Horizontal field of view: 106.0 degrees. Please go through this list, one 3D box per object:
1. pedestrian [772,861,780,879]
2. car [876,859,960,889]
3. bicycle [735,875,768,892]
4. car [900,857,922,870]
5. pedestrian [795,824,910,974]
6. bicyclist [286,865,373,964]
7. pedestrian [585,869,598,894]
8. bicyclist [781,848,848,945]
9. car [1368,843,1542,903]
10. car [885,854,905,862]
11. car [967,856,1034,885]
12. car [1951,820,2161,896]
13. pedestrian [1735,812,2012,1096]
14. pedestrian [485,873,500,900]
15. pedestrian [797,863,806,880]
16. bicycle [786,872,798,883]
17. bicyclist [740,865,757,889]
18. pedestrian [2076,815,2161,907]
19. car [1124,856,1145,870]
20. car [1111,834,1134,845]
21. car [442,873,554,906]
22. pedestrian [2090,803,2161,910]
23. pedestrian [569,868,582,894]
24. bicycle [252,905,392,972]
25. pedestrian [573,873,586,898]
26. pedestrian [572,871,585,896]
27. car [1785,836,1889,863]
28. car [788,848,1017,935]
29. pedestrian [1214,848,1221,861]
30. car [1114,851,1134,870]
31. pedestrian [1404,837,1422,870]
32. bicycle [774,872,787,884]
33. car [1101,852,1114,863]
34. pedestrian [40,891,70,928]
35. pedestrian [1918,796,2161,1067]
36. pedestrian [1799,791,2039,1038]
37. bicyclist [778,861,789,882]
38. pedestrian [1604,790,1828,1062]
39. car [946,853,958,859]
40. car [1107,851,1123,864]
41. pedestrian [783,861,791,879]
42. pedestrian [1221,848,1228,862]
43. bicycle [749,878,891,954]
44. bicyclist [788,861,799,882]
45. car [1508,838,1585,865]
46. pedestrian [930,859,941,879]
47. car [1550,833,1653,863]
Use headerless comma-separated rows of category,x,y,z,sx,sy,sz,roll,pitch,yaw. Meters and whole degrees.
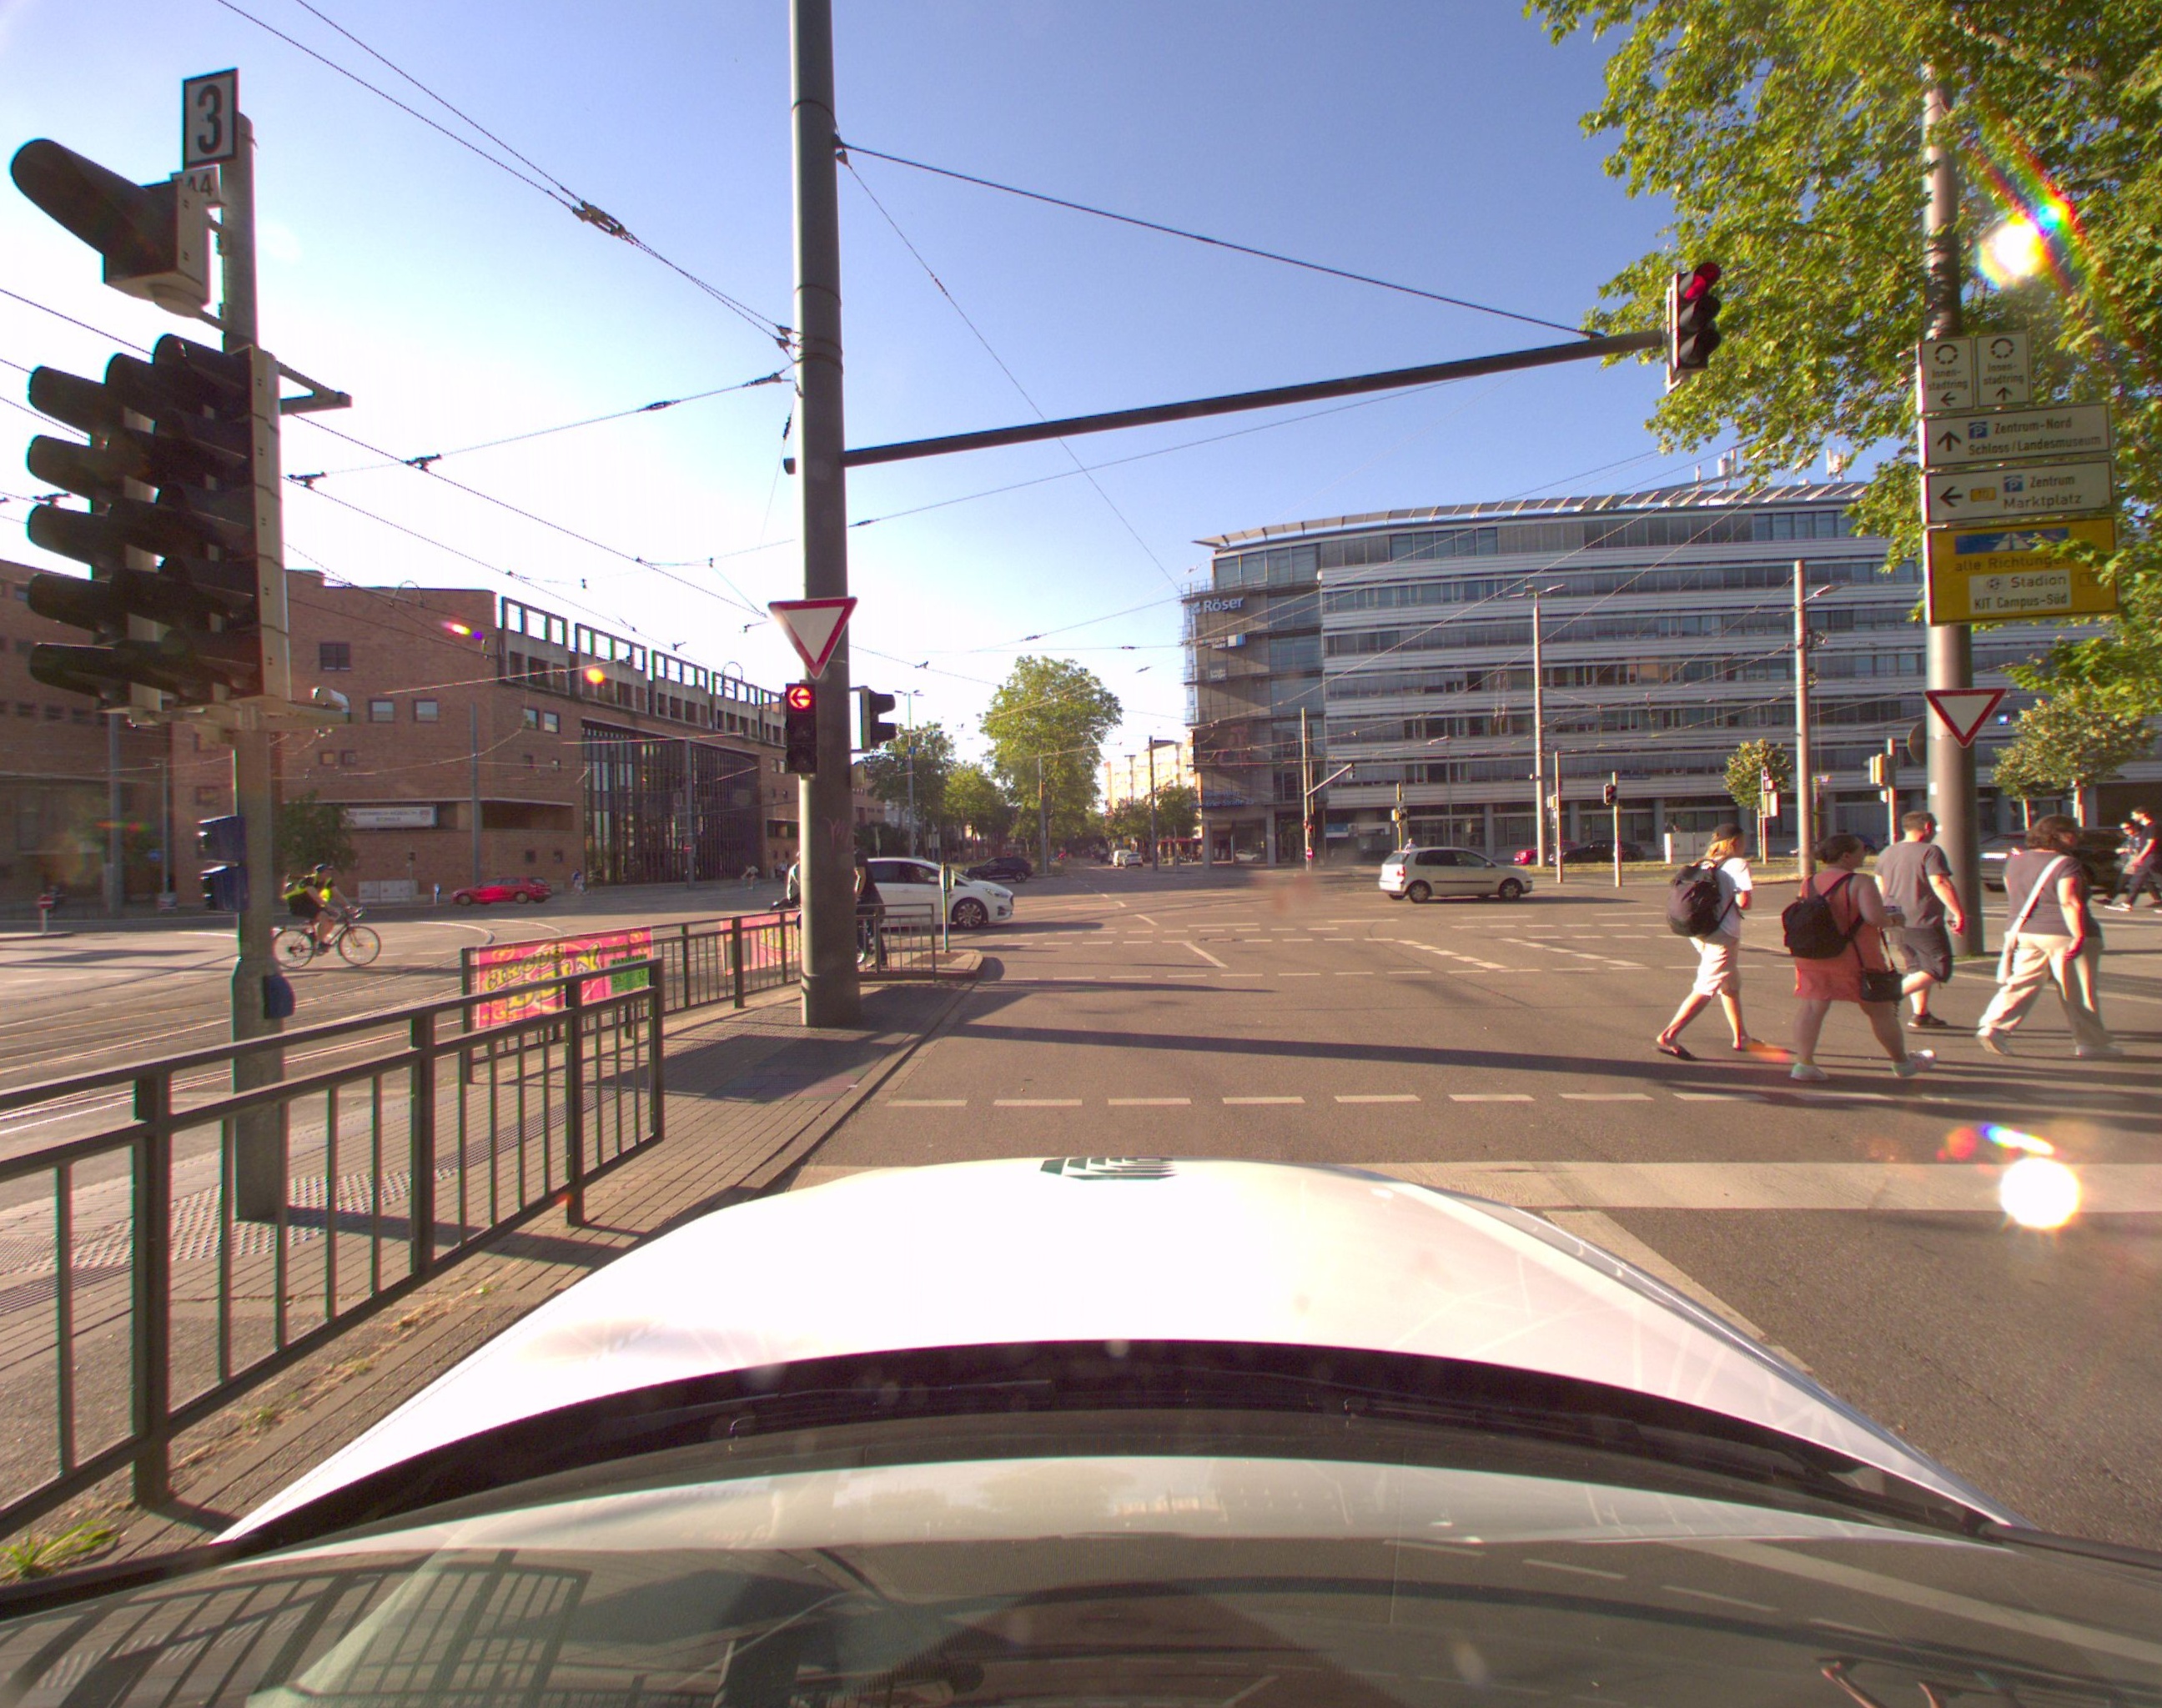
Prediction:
pedestrian,-31.550,1.679,84.201,0.487,1.810,0.547,-2,0,9
car,-8.662,1.054,43.660,4.238,1.434,1.790,-2,0,-8
bicycle,-19.635,1.743,48.513,1.744,0.899,0.407,-2,0,-15
car,-20.438,1.125,98.234,1.990,1.508,3.994,-2,0,-4
pedestrian,-2.939,0.557,10.614,1.206,1.822,1.040,-2,-1,-5
bicyclist,-13.150,1.047,14.268,0.900,1.664,0.640,-2,0,4
pedestrian,-32.732,1.815,54.490,0.538,1.650,0.622,-2,0,-17
bicyclist,-4.796,0.748,14.702,0.900,1.681,0.692,-2,0,5
car,10.053,0.487,22.095,3.897,1.434,1.824,-2,0,-1
car,-39.687,0.851,173.820,4.011,1.552,1.592,0,-1,-29
car,-4.851,0.962,48.765,3.858,1.507,1.791,-2,0,-8
car,23.414,0.065,18.945,4.469,1.583,1.824,-2,0,-2
pedestrian,5.120,0.597,5.318,1.071,1.681,0.756,-2,0,-6
pedestrian,-35.347,1.955,48.913,0.538,1.613,0.575,-2,0,33
pedestrian,-29.358,1.815,85.595,0.637,1.810,0.547,-2,0,9
bicycle,-23.597,1.913,66.551,0.512,0.881,1.835,-2,0,-6
bicyclist,-19.782,1.382,48.477,0.820,1.366,0.398,-2,0,-15
pedestrian,19.568,0.128,15.221,0.840,1.681,0.870,-1,0,9
car,5.429,0.864,82.908,1.986,1.332,4.002,-2,0,2
car,7.231,-2.518,141.314,3.732,1.750,1.789,0,-1,16
car,-29.611,1.790,41.478,4.238,1.392,1.790,-2,0,-8
pedestrian,18.663,0.040,14.279,0.840,1.820,0.870,-1,0,9
pedestrian,-33.230,1.789,53.559,0.538,1.650,0.622,-2,0,-17
bicycle,-13.290,1.469,14.276,1.914,1.064,0.630,-1,0,4
pedestrian,-33.840,2.112,54.934,0.538,1.650,0.622,-3,1,-17
pedestrian,-33.487,1.949,54.284,0.538,1.650,0.622,-1,-1,-17
car,43.865,-0.259,47.326,3.963,1.348,1.981,-2,0,9
car,-3.939,0.808,18.688,4.825,1.727,1.997,-2,0,-4
pedestrian,15.301,0.053,91.474,0.734,1.465,0.538,-2,0,11
car,4.739,0.669,89.769,1.986,1.991,4.002,-2,0,2
pedestrian,17.290,-0.020,42.441,0.715,1.681,0.558,-1,0,9
bicycle,-24.419,1.963,66.265,0.512,0.881,1.835,-2,0,-6
car,4.133,0.581,126.843,1.986,1.662,4.002,-2,0,2
pedestrian,-45.836,2.474,36.376,0.542,1.613,0.613,0,1,-3
pedestrian,7.012,0.516,5.923,1.070,1.806,0.756,-2,0,-6
pedestrian,6.958,0.467,6.813,1.143,1.893,0.831,-2,0,-6
bicyclist,-24.275,1.400,66.373,0.592,1.675,0.788,-2,0,-4
pedestrian,4.704,0.496,6.085,1.072,1.871,0.737,-2,0,-6
car,-34.488,0.487,218.292,1.982,1.508,4.011,-2,0,9
car,4.384,0.436,105.106,1.986,1.662,4.002,-2,0,2
pedestrian,-30.810,1.654,85.360,0.487,1.810,0.547,-2,0,9
pedestrian,16.047,0.115,91.066,0.701,1.465,0.385,-2,0,11
bicycle,-4.679,1.098,14.709,2.147,1.226,1.074,-1,1,5
bicyclist,-23.507,1.399,66.610,0.592,1.675,0.788,-2,0,-4
car,28.101,-0.123,49.242,3.575,1.466,1.800,-2,0,9
pedestrian,-11.286,1.158,63.258,0.753,1.530,0.507,-1,0,-6
car,27.686,-0.327,43.424,4.219,1.392,1.799,-2,0,6
